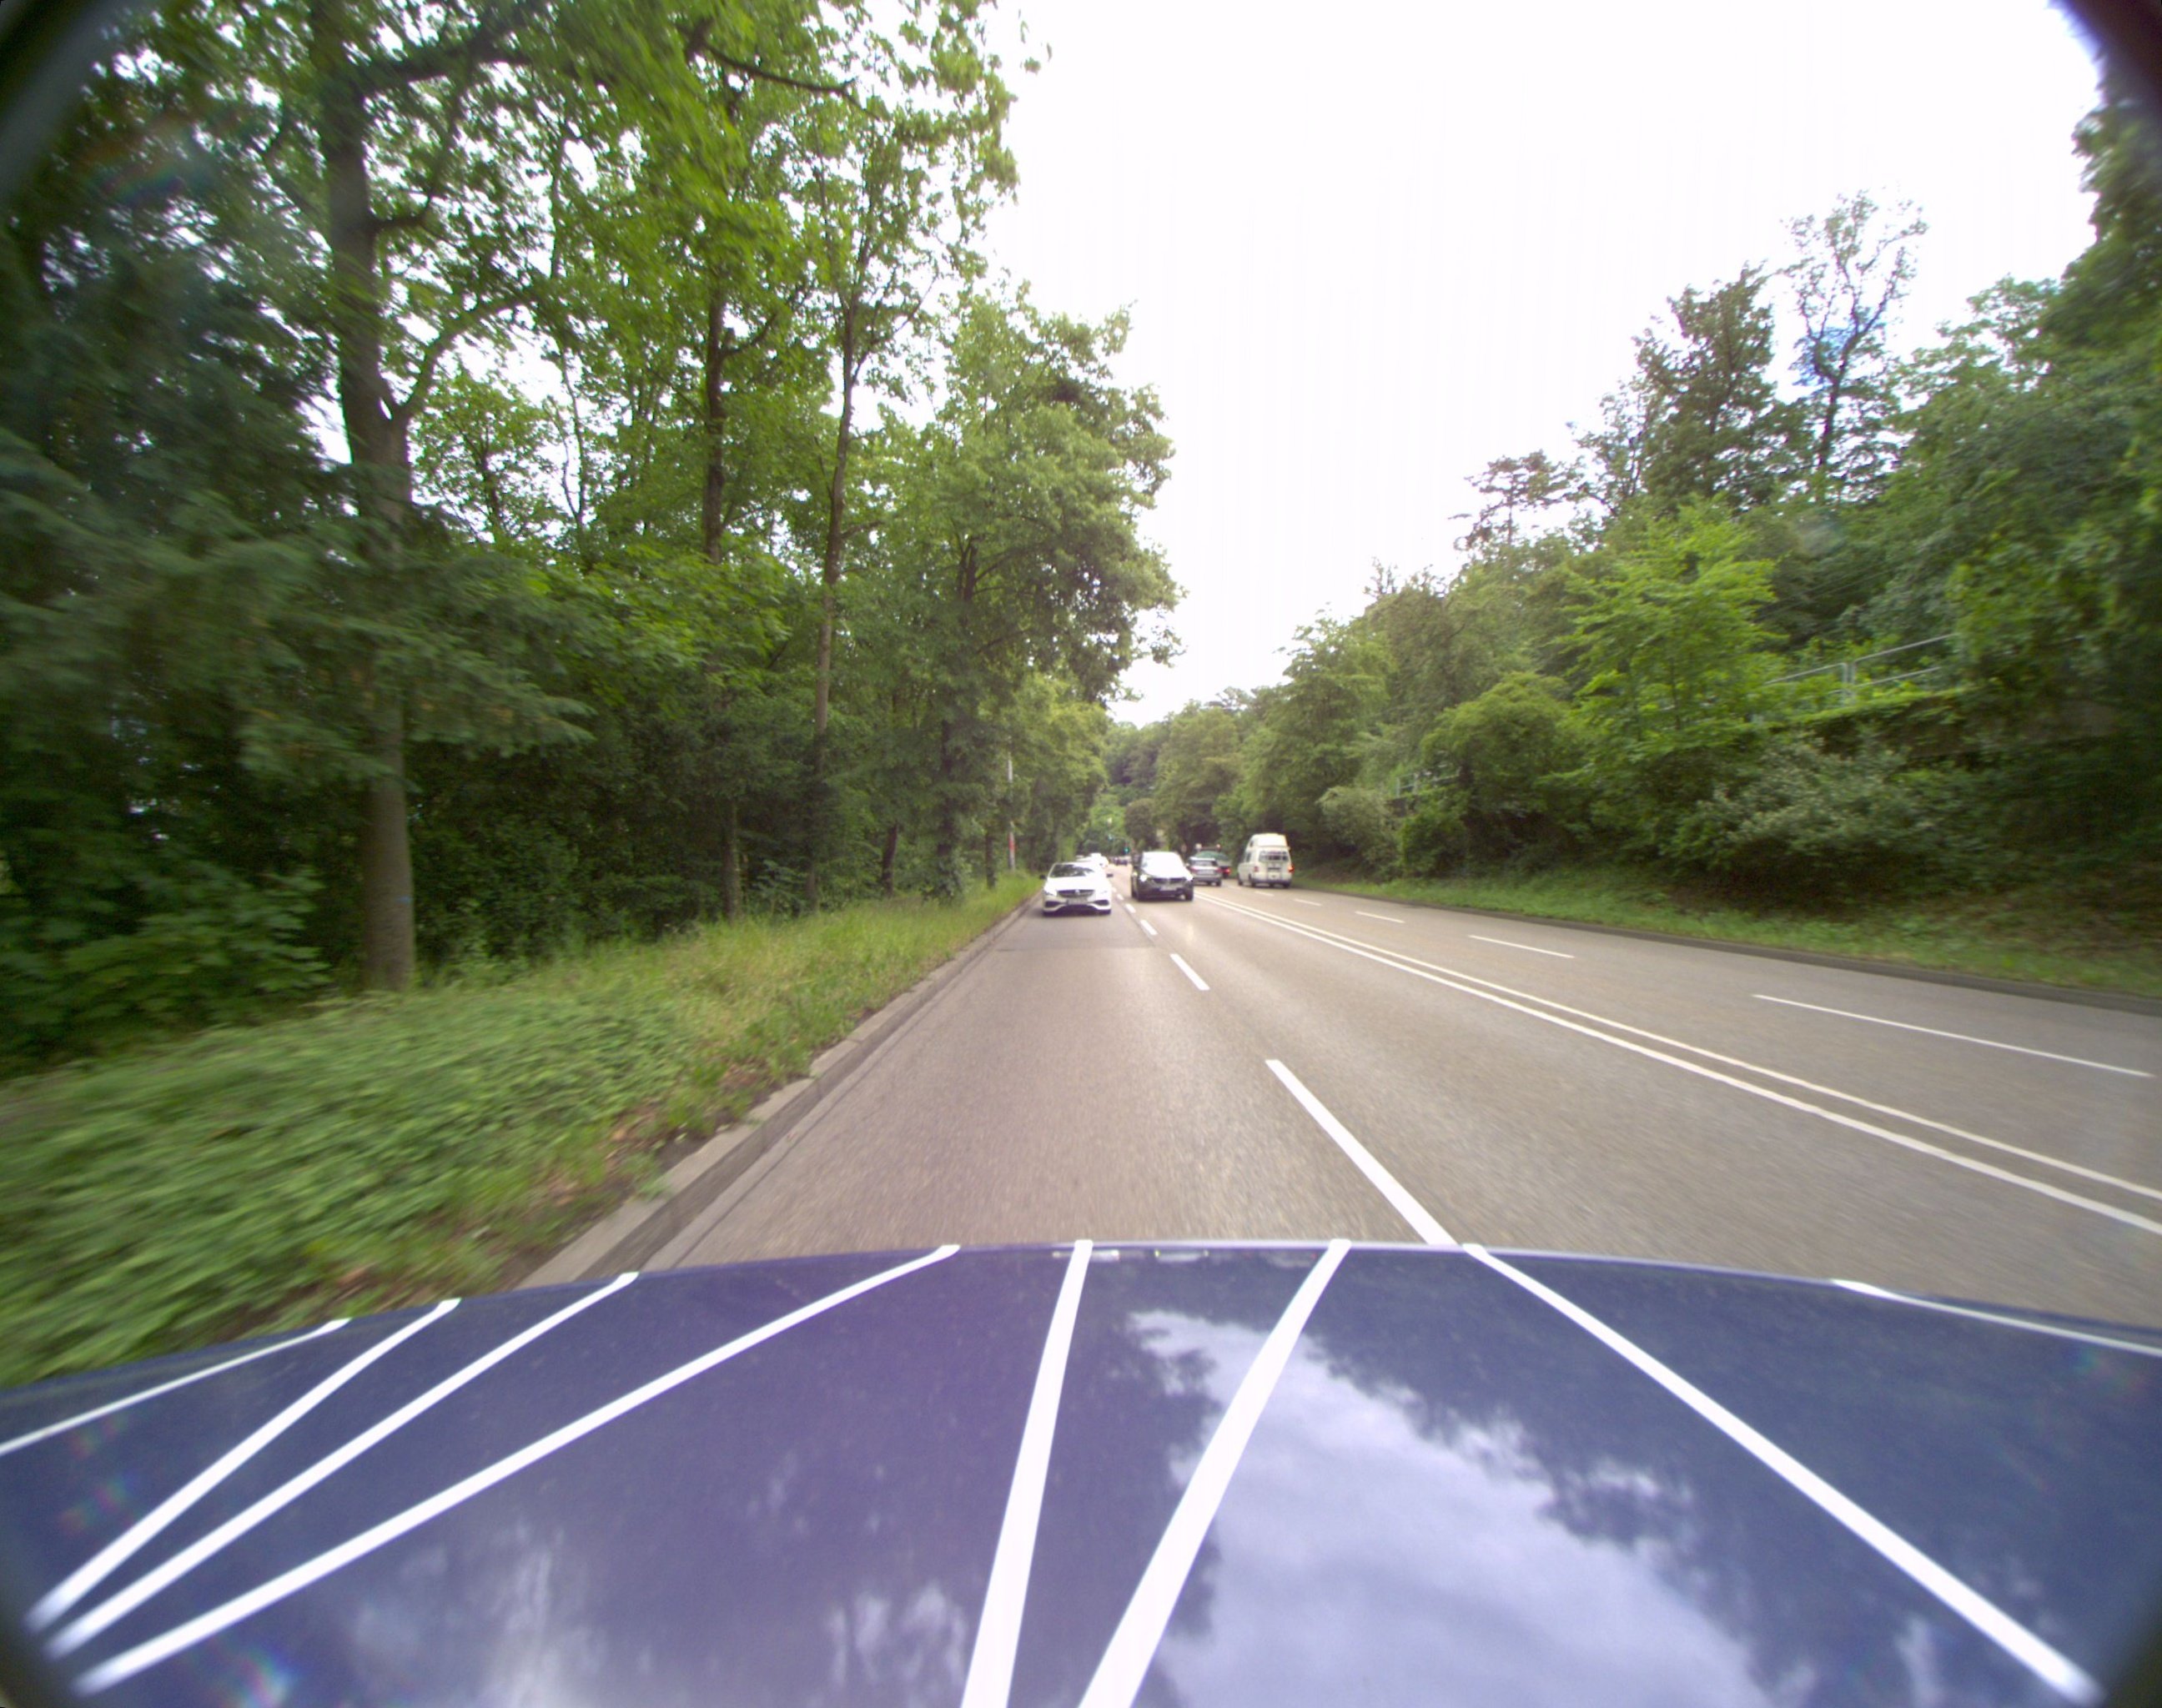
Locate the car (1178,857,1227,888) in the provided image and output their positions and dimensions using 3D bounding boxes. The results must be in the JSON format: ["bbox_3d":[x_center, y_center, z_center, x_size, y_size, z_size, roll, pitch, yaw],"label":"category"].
[{"bbox_3d":[6.213,0.909,39.315,1.843,1.457,4.465,0,0,0],"label":"car"}]

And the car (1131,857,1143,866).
[{"bbox_3d":[9.073,1.203,123.846,1.737,1.502,4.433,1,1,1],"label":"car"}]

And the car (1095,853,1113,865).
[{"bbox_3d":[3.329,0.702,111.224,1.699,1.732,3.996,-2,1,-11],"label":"car"}]

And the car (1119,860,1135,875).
[{"bbox_3d":[6.880,2.033,114.696,1.691,1.452,4.000,-26,0,1],"label":"car"}]

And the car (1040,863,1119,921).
[{"bbox_3d":[-0.028,0.964,20.900,1.897,1.288,4.327,-2,0,0],"label":"car"}]

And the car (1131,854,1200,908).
[{"bbox_3d":[2.840,0.863,26.337,1.871,1.653,4.192,2,1,0],"label":"car"}]

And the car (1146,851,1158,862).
[{"bbox_3d":[11.779,0.442,126.586,1.662,1.762,4.135,2,1,0],"label":"car"}]

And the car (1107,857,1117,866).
[{"bbox_3d":[6.133,1.475,151.102,1.802,1.543,4.000,-2,0,0],"label":"car"}]

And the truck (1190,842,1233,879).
[{"bbox_3d":[9.333,0.415,54.899,2.182,2.397,6.465,2,1,2],"label":"truck"}]

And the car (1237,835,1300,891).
[{"bbox_3d":[9.241,0.409,37.806,1.892,2.541,4.914,2,1,1],"label":"car"}]

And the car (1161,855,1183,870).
[{"bbox_3d":[9.246,0.858,77.205,1.674,1.477,3.999,1,1,-1],"label":"car"}]
